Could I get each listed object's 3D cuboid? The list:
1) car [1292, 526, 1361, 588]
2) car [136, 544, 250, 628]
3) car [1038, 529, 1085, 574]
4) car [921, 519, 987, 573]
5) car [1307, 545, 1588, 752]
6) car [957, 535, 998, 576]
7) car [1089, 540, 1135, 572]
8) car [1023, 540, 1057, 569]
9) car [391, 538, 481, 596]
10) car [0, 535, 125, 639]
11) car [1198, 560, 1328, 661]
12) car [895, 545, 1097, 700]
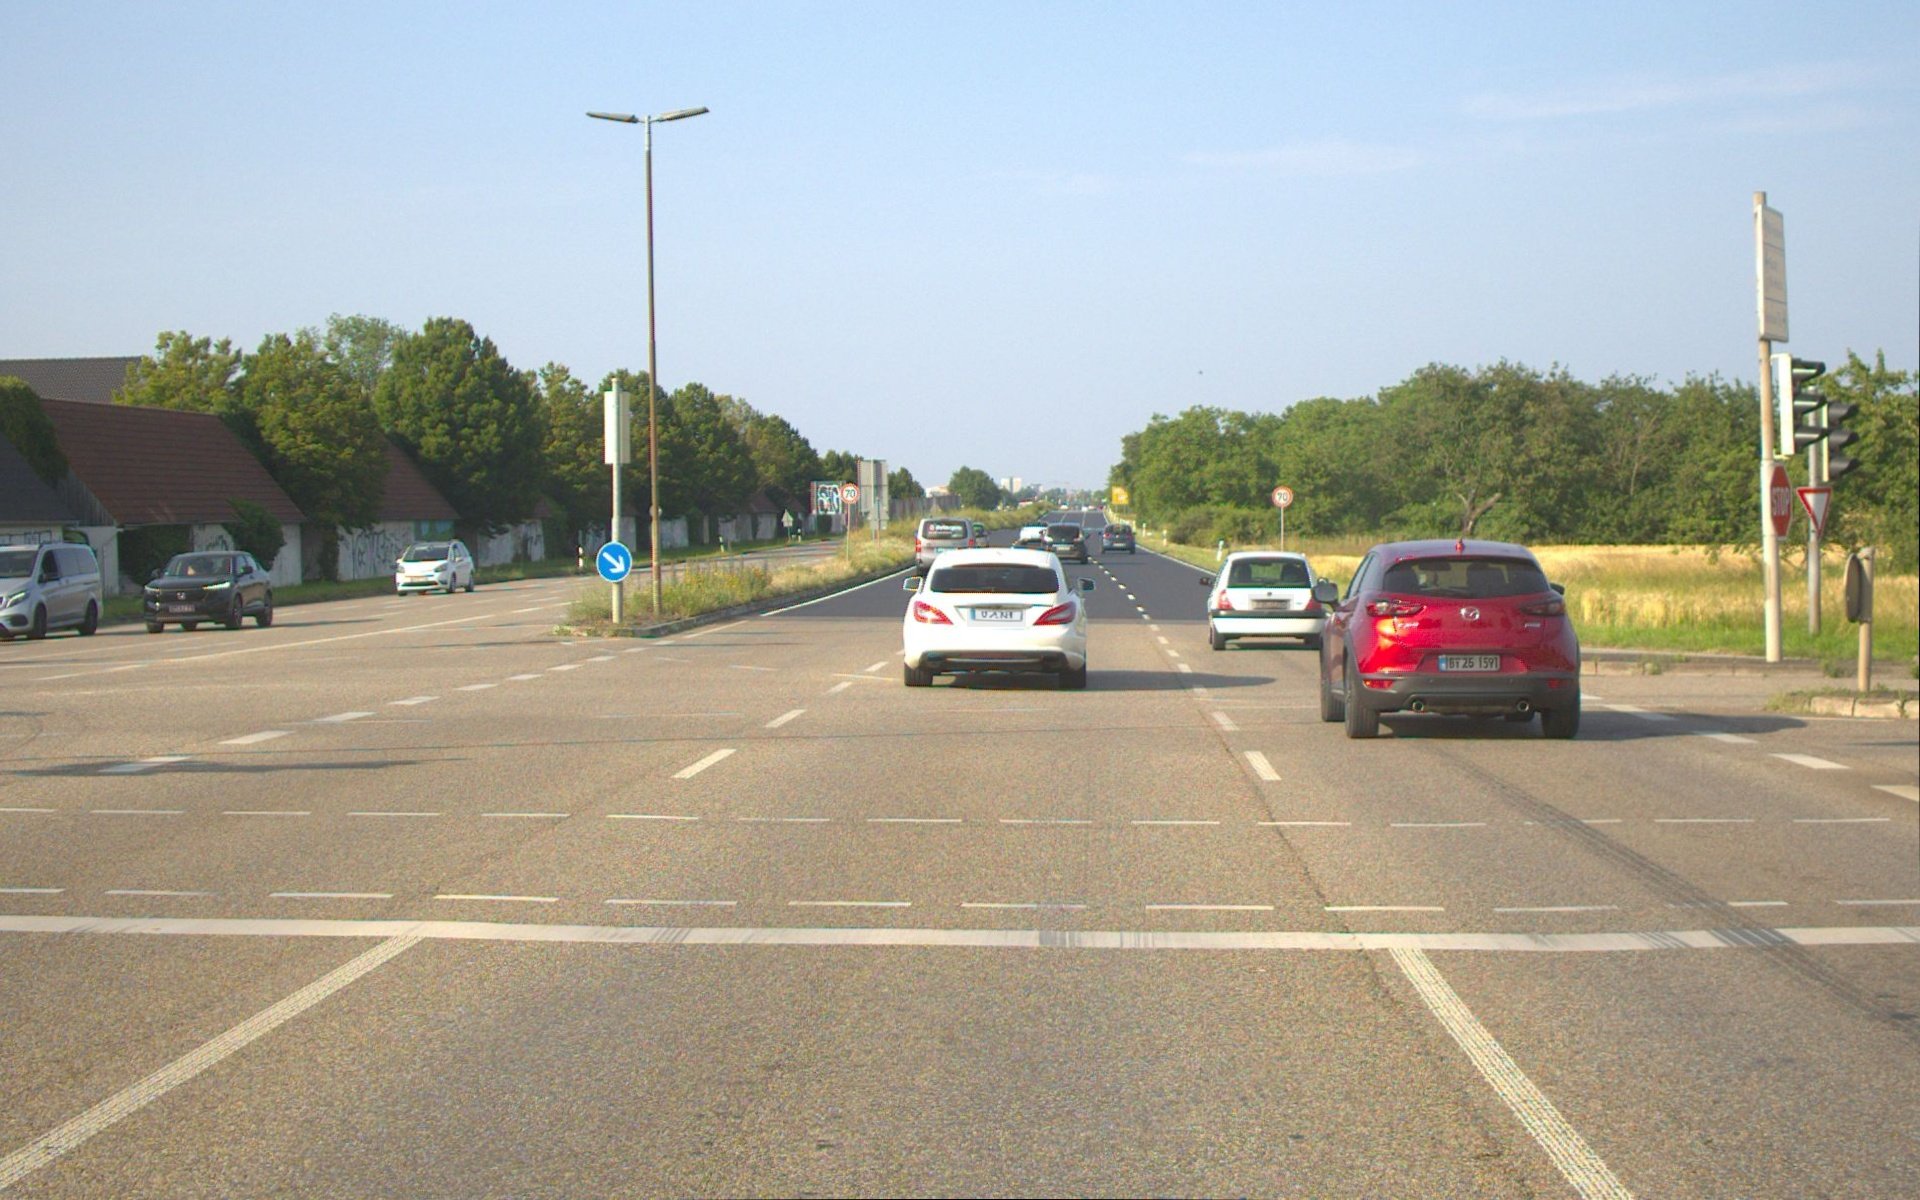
[{"bbox_3d":[9.648,-1.131,90.663,1.654,1.564,3.679,1,1,4],"label":"car"},{"bbox_3d":[-15.185,-0.283,68.236,1.731,1.536,4.247,-3,1,-7],"label":"car"},{"bbox_3d":[4.052,-1.927,137.574,1.828,1.722,4.000,1,1,2],"label":"car"},{"bbox_3d":[-0.163,-1.655,106.641,1.759,1.612,3.999,1,1,4],"label":"car"},{"bbox_3d":[3.812,0.337,27.546,1.704,1.500,4.501,1,1,2],"label":"car"},{"bbox_3d":[0.870,-2.196,170.291,1.839,2.007,4.000,1,1,3],"label":"car"},{"bbox_3d":[7.493,-2.167,169.778,1.993,1.579,4.284,1,1,-1],"label":"car"},{"bbox_3d":[4.616,-2.613,199.059,1.795,1.645,3.541,1,1,-1],"label":"car"},{"bbox_3d":[-16.552,-1.054,108.730,1.837,1.701,4.757,-3,0,3],"label":"car"},{"bbox_3d":[-18.207,-0.239,67.343,1.907,1.921,5.453,-3,0,4],"label":"car"},{"bbox_3d":[4.353,0.131,49.794,1.617,1.382,3.951,1,1,2],"label":"car"},{"bbox_3d":[0.429,0.209,36.151,1.993,1.511,4.000,1,1,2],"label":"car"}]
